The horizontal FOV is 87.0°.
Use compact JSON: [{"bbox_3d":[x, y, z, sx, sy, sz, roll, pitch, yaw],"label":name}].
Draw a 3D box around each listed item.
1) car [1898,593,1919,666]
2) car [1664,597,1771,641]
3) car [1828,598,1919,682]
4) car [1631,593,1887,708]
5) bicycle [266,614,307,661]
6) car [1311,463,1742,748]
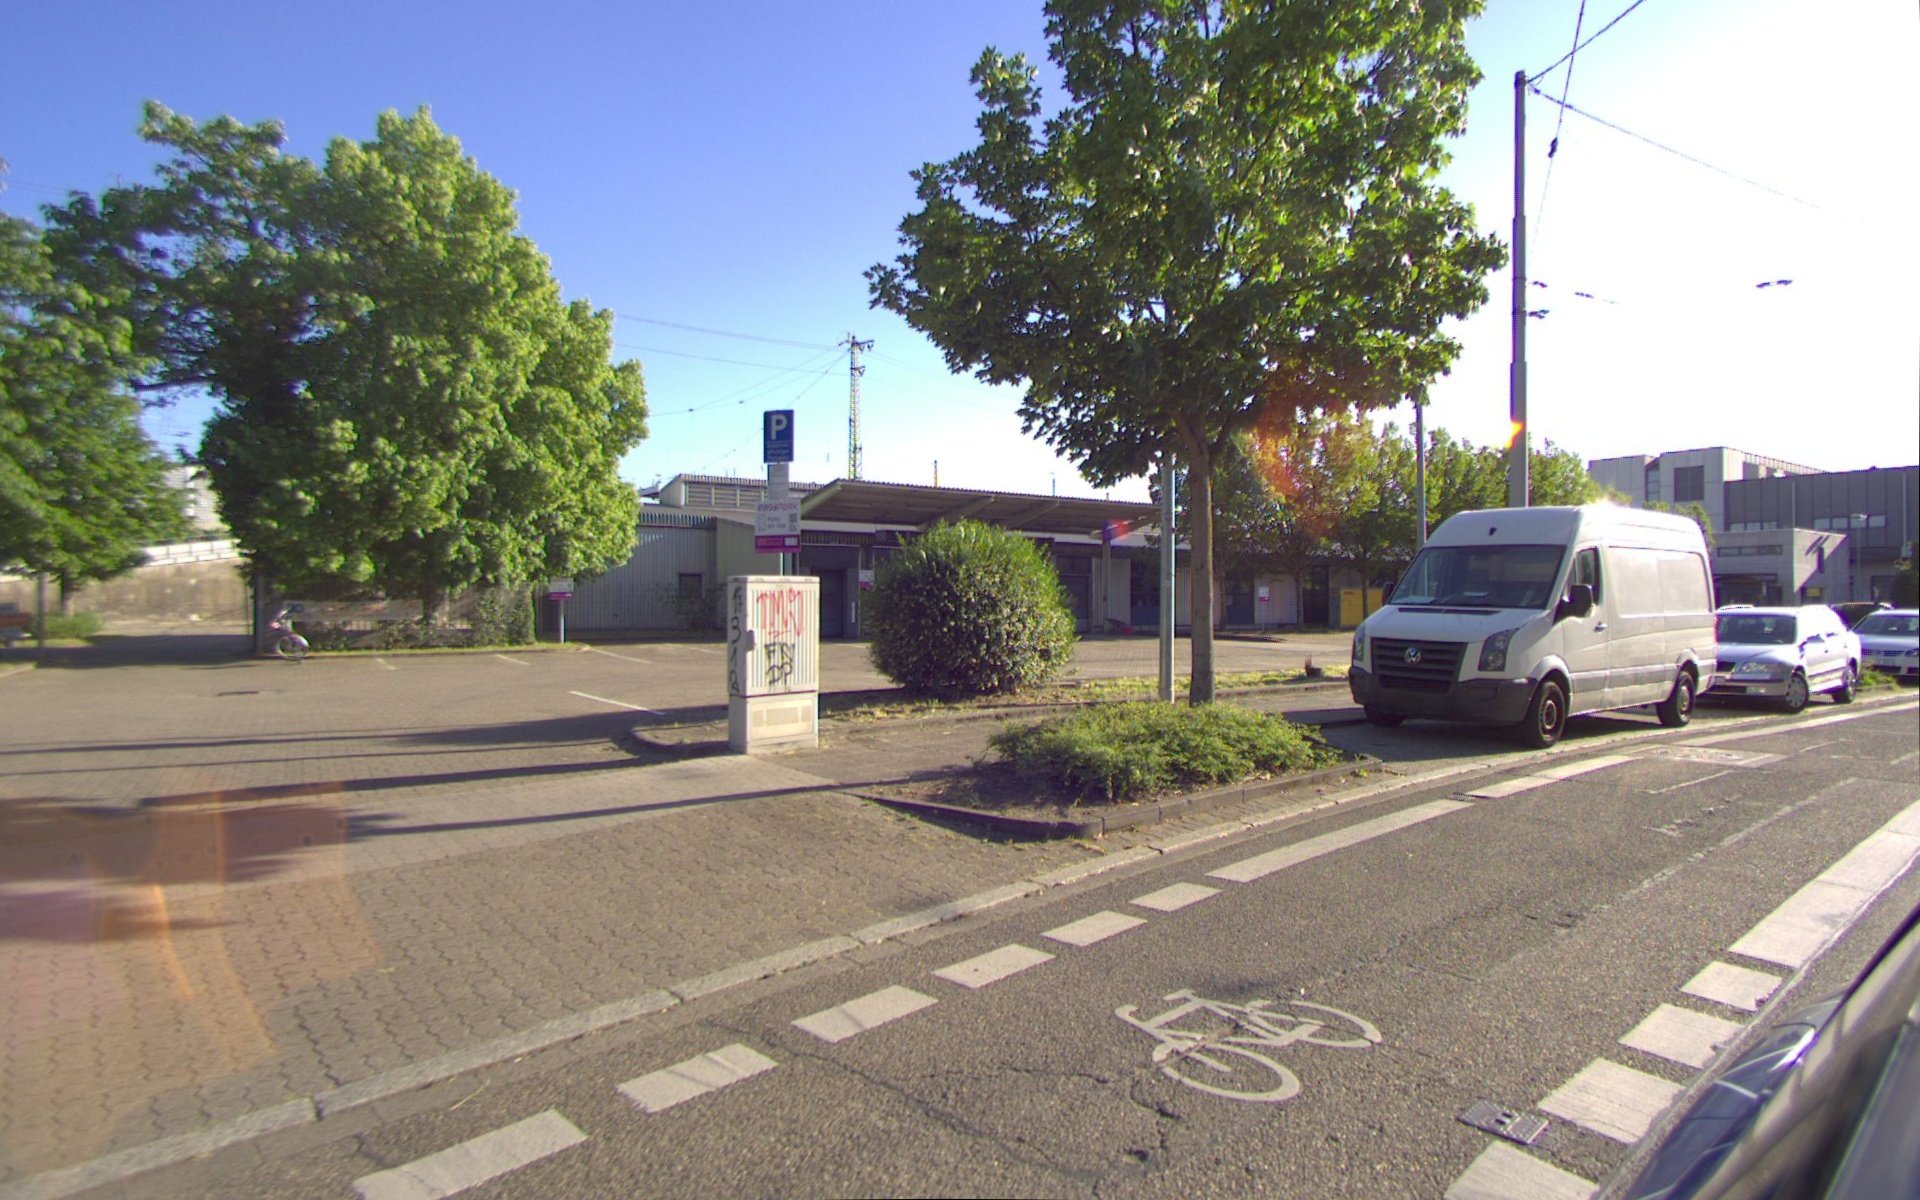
[{"bbox_3d":[23.354,0.667,23.233,4.259,1.624,1.734,0,2,-34],"label":"car"},{"bbox_3d":[19.283,0.476,25.741,2.998,1.046,1.313,0,-1,-35],"label":"car"},{"bbox_3d":[19.451,0.755,20.545,4.170,1.531,1.734,0,1,-34],"label":"car"},{"bbox_3d":[12.447,0.663,15.681,4.513,1.549,1.916,0,0,-35],"label":"car"},{"bbox_3d":[-14.460,0.801,21.718,0.540,0.953,1.841,0,-2,-40],"label":"bicycle"},{"bbox_3d":[7.023,0.003,12.237,5.976,2.699,2.187,0,2,-36],"label":"car"}]
